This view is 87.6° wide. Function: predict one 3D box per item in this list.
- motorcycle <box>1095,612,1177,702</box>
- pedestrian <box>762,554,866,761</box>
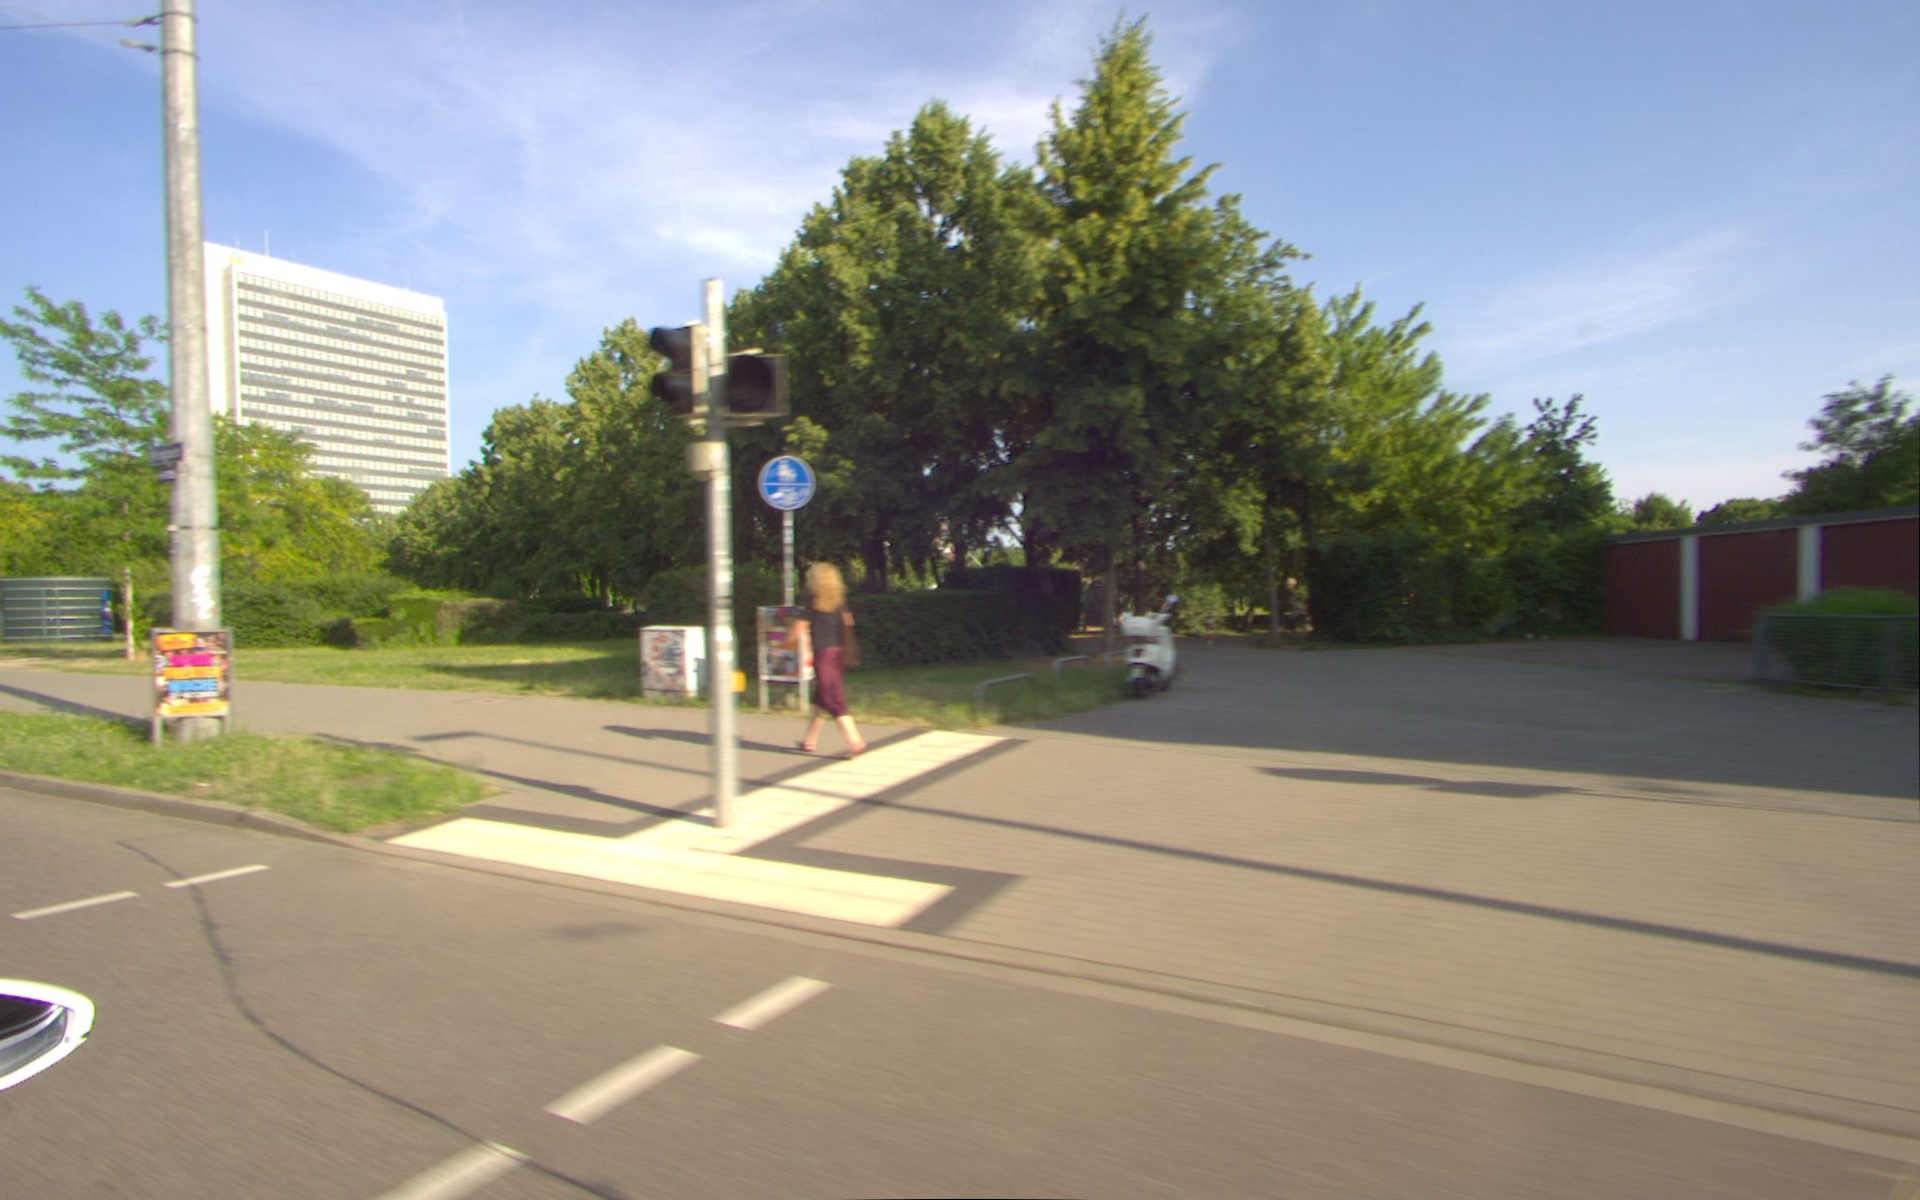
[{"bbox_3d":[2.507,0.754,14.065,0.696,1.175,1.997,0,0,23],"label":"motorcycle"},{"bbox_3d":[-1.268,0.479,8.766,0.541,1.716,0.613,0,6,33],"label":"pedestrian"}]
